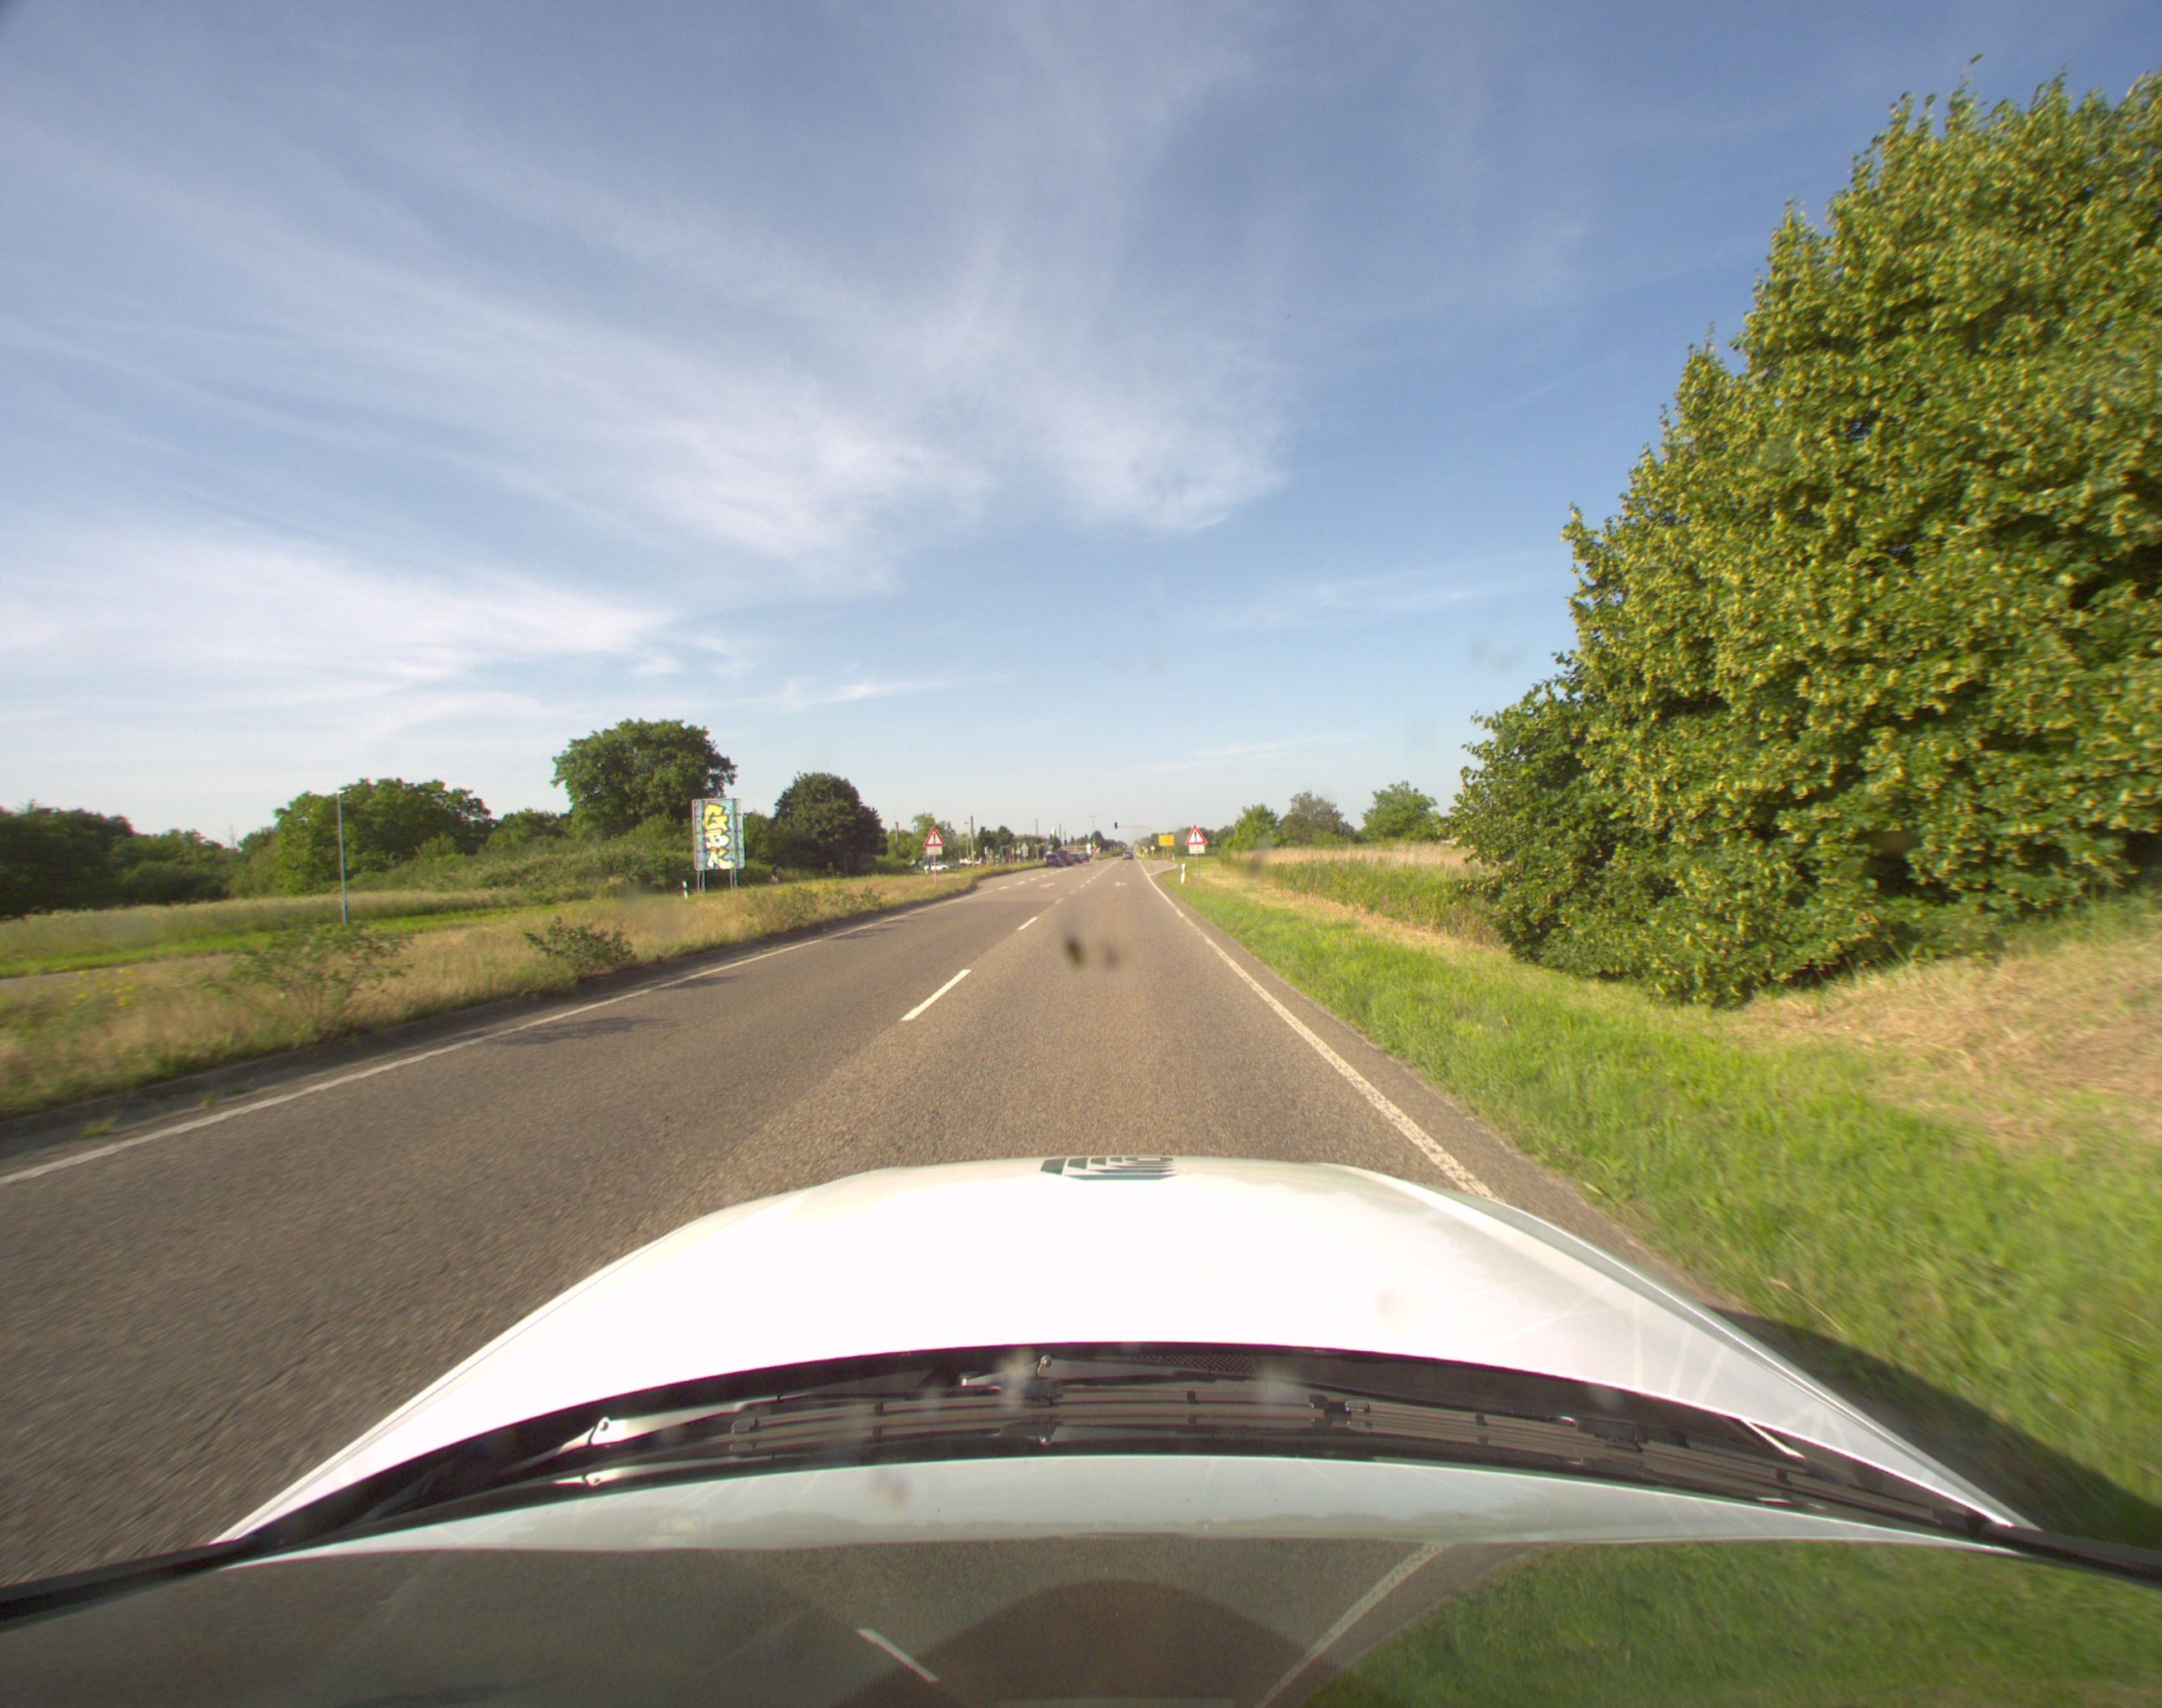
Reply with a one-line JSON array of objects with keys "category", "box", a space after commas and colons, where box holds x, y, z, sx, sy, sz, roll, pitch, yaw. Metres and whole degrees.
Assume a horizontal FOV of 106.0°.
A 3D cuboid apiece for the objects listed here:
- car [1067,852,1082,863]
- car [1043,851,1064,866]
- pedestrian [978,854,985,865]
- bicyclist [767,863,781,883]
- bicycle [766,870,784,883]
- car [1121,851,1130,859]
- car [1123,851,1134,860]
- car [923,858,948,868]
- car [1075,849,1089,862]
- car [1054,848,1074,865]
[{"category": "car", "box": [-0.848, 0.435, 112.086, 1.762, 1.471, 4.020, -2, 0, 4]}, {"category": "car", "box": [-2.873, 0.458, 85.537, 1.724, 1.456, 4.525, -2, 0, 4]}, {"category": "pedestrian", "box": [-16.006, 0.876, 131.167, 0.913, 1.706, 1.066, 0, -1, -2]}, {"category": "bicyclist", "box": [-21.538, 1.341, 57.075, 0.465, 1.389, 1.048, -2, 0, 3]}, {"category": "bicycle", "box": [-21.500, 1.573, 57.195, 0.527, 0.878, 1.706, -2, 0, 4]}, {"category": "car", "box": [9.600, 0.192, 175.490, 1.984, 1.552, 4.005, -2, 0, 4]}, {"category": "car", "box": [8.719, 0.343, 149.447, 1.984, 1.552, 4.005, -2, 0, 4]}, {"category": "car", "box": [-24.447, 1.513, 136.903, 3.985, 1.662, 1.881, 0, -1, -9]}, {"category": "car", "box": [0.216, 0.269, 131.770, 1.989, 2.014, 4.831, -2, -2, -3]}, {"category": "car", "box": [-1.917, 0.264, 92.833, 1.724, 1.855, 4.525, -2, 0, 4]}]
